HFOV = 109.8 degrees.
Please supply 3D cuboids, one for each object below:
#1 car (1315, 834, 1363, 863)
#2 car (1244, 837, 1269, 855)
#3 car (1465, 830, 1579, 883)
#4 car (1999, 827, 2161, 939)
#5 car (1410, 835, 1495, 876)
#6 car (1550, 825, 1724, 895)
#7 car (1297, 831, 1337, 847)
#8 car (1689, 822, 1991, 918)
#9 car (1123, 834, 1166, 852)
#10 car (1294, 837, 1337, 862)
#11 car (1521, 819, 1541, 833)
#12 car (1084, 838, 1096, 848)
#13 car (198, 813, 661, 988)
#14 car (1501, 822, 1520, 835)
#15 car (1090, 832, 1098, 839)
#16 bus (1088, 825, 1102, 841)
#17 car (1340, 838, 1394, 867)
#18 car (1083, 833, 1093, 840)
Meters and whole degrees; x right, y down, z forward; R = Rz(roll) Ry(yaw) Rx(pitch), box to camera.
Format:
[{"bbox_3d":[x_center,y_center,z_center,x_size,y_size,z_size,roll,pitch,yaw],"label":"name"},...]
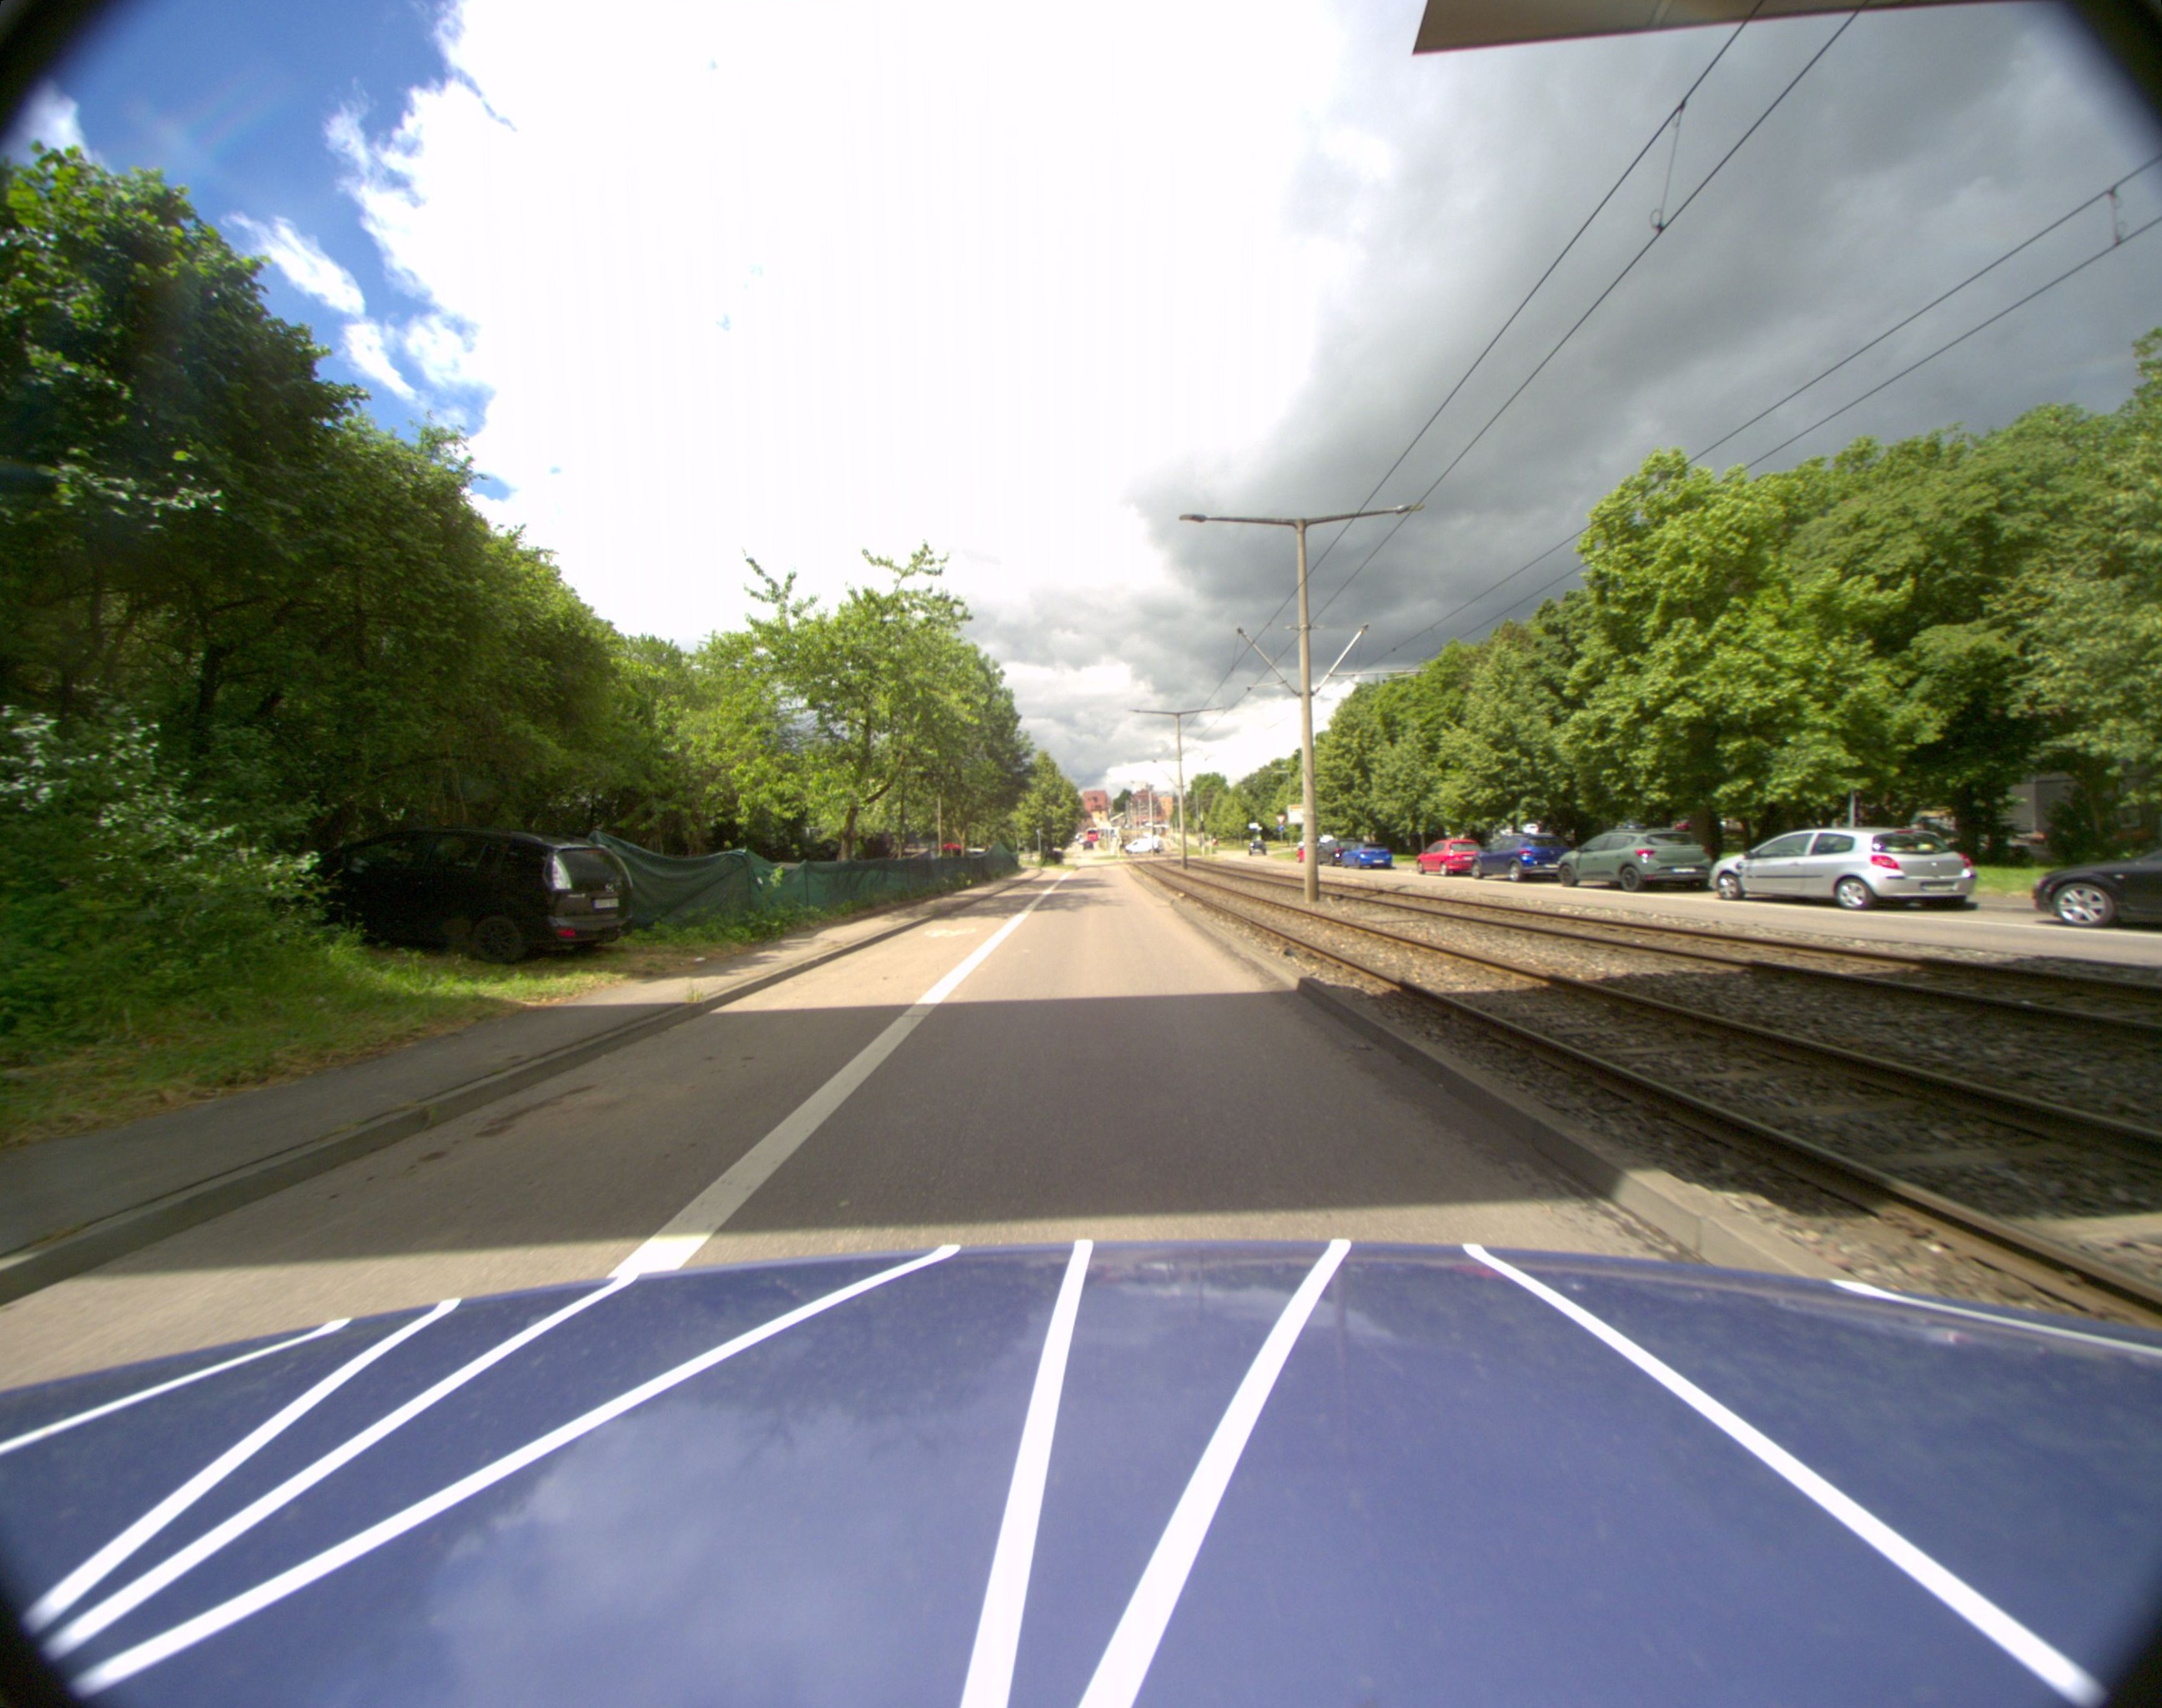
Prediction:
[{"bbox_3d":[15.436,-0.355,45.659,1.584,1.596,4.375,-1,1,3],"label":"car"},{"bbox_3d":[17.431,-0.822,75.756,1.617,1.565,3.999,-4,2,2],"label":"car"},{"bbox_3d":[14.613,0.055,25.438,1.561,1.587,4.160,-1,1,3],"label":"car"},{"bbox_3d":[13.942,0.340,8.898,1.515,1.352,4.129,-2,0,3],"label":"car"},{"bbox_3d":[14.855,0.042,30.613,1.616,1.485,4.048,-3,0,4],"label":"car"},{"bbox_3d":[14.362,0.152,19.955,1.646,1.613,4.126,1,0,3],"label":"car"},{"bbox_3d":[28.480,-1.808,91.704,4.352,1.680,1.740,-5,3,-15],"label":"car"},{"bbox_3d":[14.205,0.234,14.634,1.597,1.485,4.191,-4,1,1],"label":"car"},{"bbox_3d":[8.254,-1.477,98.765,5.221,2.008,1.883,-3,3,32],"label":"car"},{"bbox_3d":[15.804,-0.345,51.462,1.617,1.444,3.659,-4,3,-2],"label":"car"},{"bbox_3d":[54.845,-3.406,92.578,1.754,1.412,4.006,-2,3,34],"label":"car"},{"bbox_3d":[1.600,-1.981,133.805,1.858,1.576,4.323,-2,2,-2],"label":"car"},{"bbox_3d":[-8.529,0.513,10.258,4.535,1.662,1.999,6,3,2],"label":"car"},{"bbox_3d":[53.300,-3.155,94.183,1.754,1.412,4.006,-2,3,34],"label":"car"},{"bbox_3d":[3.119,-4.473,185.034,1.738,1.501,3.514,-4,2,3],"label":"car"},{"bbox_3d":[3.572,-5.296,195.425,2.923,3.864,10.378,-3,2,4],"label":"bus"},{"bbox_3d":[15.154,-0.129,40.445,1.616,1.453,4.008,-1,1,4],"label":"car"},{"bbox_3d":[1.590,-3.938,170.384,1.940,1.374,4.659,-4,2,1],"label":"car"}]
